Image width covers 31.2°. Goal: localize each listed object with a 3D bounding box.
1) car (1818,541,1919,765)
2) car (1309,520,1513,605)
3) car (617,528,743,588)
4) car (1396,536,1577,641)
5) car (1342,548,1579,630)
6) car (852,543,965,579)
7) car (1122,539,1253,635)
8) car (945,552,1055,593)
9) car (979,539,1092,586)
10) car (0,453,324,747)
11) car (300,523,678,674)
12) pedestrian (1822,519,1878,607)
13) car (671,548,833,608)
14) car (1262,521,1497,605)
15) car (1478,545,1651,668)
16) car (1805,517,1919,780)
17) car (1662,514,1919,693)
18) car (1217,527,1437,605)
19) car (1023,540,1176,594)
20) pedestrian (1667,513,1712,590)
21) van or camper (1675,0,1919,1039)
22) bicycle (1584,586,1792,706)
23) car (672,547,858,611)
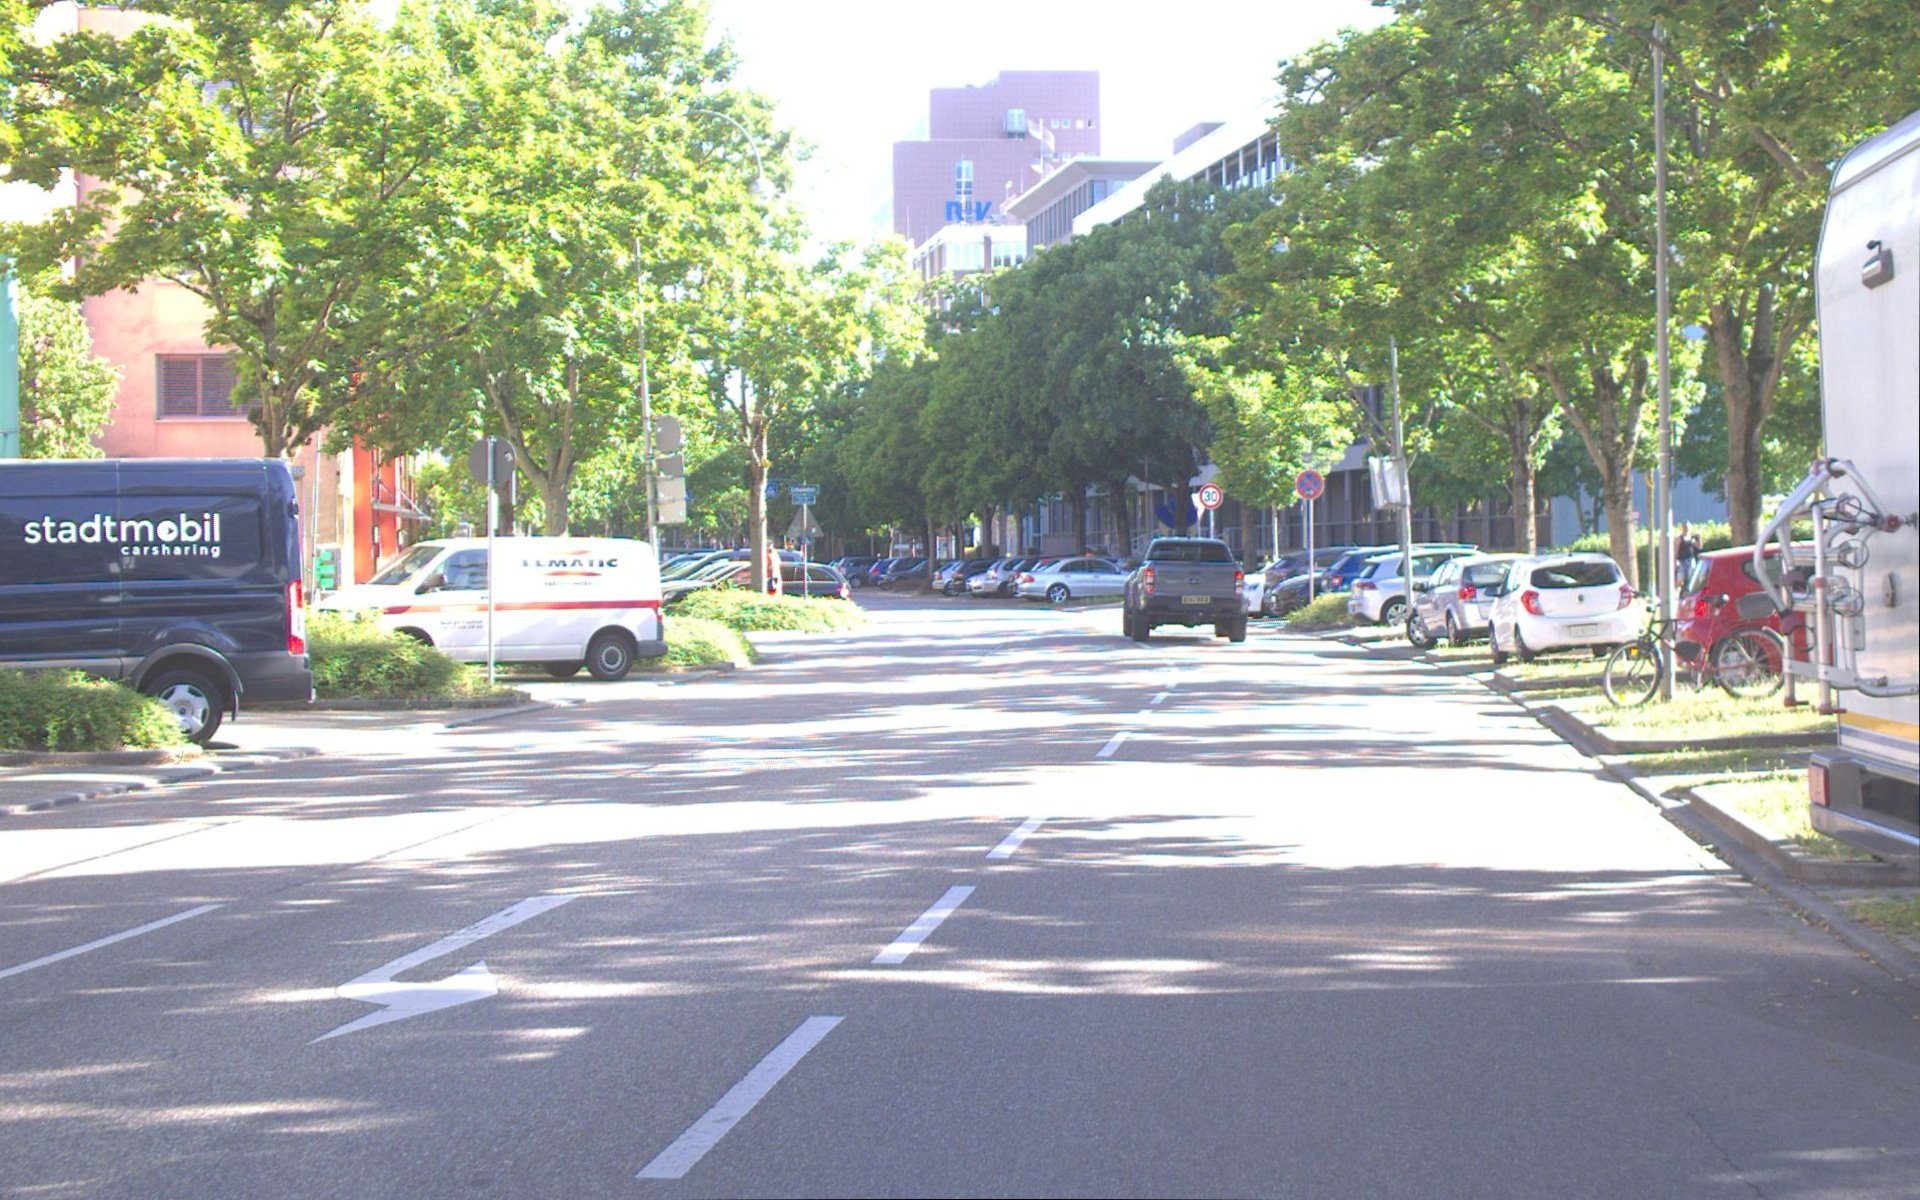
[{"bbox_3d":[7.996,0.253,24.098,3.462,1.474,1.859,-4,1,3],"label":"car"},{"bbox_3d":[9.315,-0.775,71.194,3.805,1.443,1.745,-5,1,-5],"label":"car"},{"bbox_3d":[-10.145,-1.515,124.515,4.487,2.082,2.083,1,1,-5],"label":"car"},{"bbox_3d":[8.336,-0.205,54.827,1.809,1.488,4.624,-4,1,-4],"label":"car"},{"bbox_3d":[9.150,-0.211,63.031,4.089,1.424,1.643,-1,1,0],"label":"car"},{"bbox_3d":[-2.324,-1.766,155.633,4.824,1.415,2.032,-3,1,-8],"label":"car"},{"bbox_3d":[4.010,-0.242,61.246,1.993,1.634,4.000,1,1,-1],"label":"car"},{"bbox_3d":[1.554,-1.063,132.761,3.969,1.415,1.711,-3,1,-8],"label":"car"},{"bbox_3d":[2.721,-1.349,123.680,3.742,1.488,1.617,-3,1,-12],"label":"car"},{"bbox_3d":[-8.391,-0.025,29.418,5.486,2.428,2.187,0,1,-21],"label":"car"},{"bbox_3d":[-6.475,-0.058,47.369,4.755,1.978,2.000,-1,2,-31],"label":"car"},{"bbox_3d":[16.214,-0.674,62.640,0.723,1.582,0.853,-1,1,-5],"label":"pedestrian"},{"bbox_3d":[-5.152,-0.552,84.998,3.891,1.419,1.740,1,1,-6],"label":"car"},{"bbox_3d":[8.950,-0.779,73.662,4.549,1.509,2.159,-3,1,-6],"label":"car"},{"bbox_3d":[8.147,0.056,46.582,1.643,1.488,3.765,-4,1,1],"label":"car"},{"bbox_3d":[7.548,0.163,21.336,4.194,1.540,1.859,-4,1,7],"label":"car"},{"bbox_3d":[8.684,-0.015,33.380,3.435,1.539,1.627,-4,0,7],"label":"car"},{"bbox_3d":[8.415,-0.767,78.988,4.548,1.509,1.983,-4,1,-12],"label":"car"},{"bbox_3d":[4.388,-1.051,108.806,4.577,1.470,1.747,-3,1,-6],"label":"car"},{"bbox_3d":[14.717,-0.982,69.375,0.606,1.537,0.937,-1,1,-5],"label":"pedestrian"},{"bbox_3d":[5.565,-0.427,10.939,5.982,2.974,2.670,-3,1,4],"label":"van or camper"},{"bbox_3d":[6.543,0.413,30.894,1.752,0.987,0.529,-3,1,17],"label":"bicycle"},{"bbox_3d":[-4.536,-0.490,80.123,4.262,1.419,1.740,1,1,-3],"label":"car"}]
